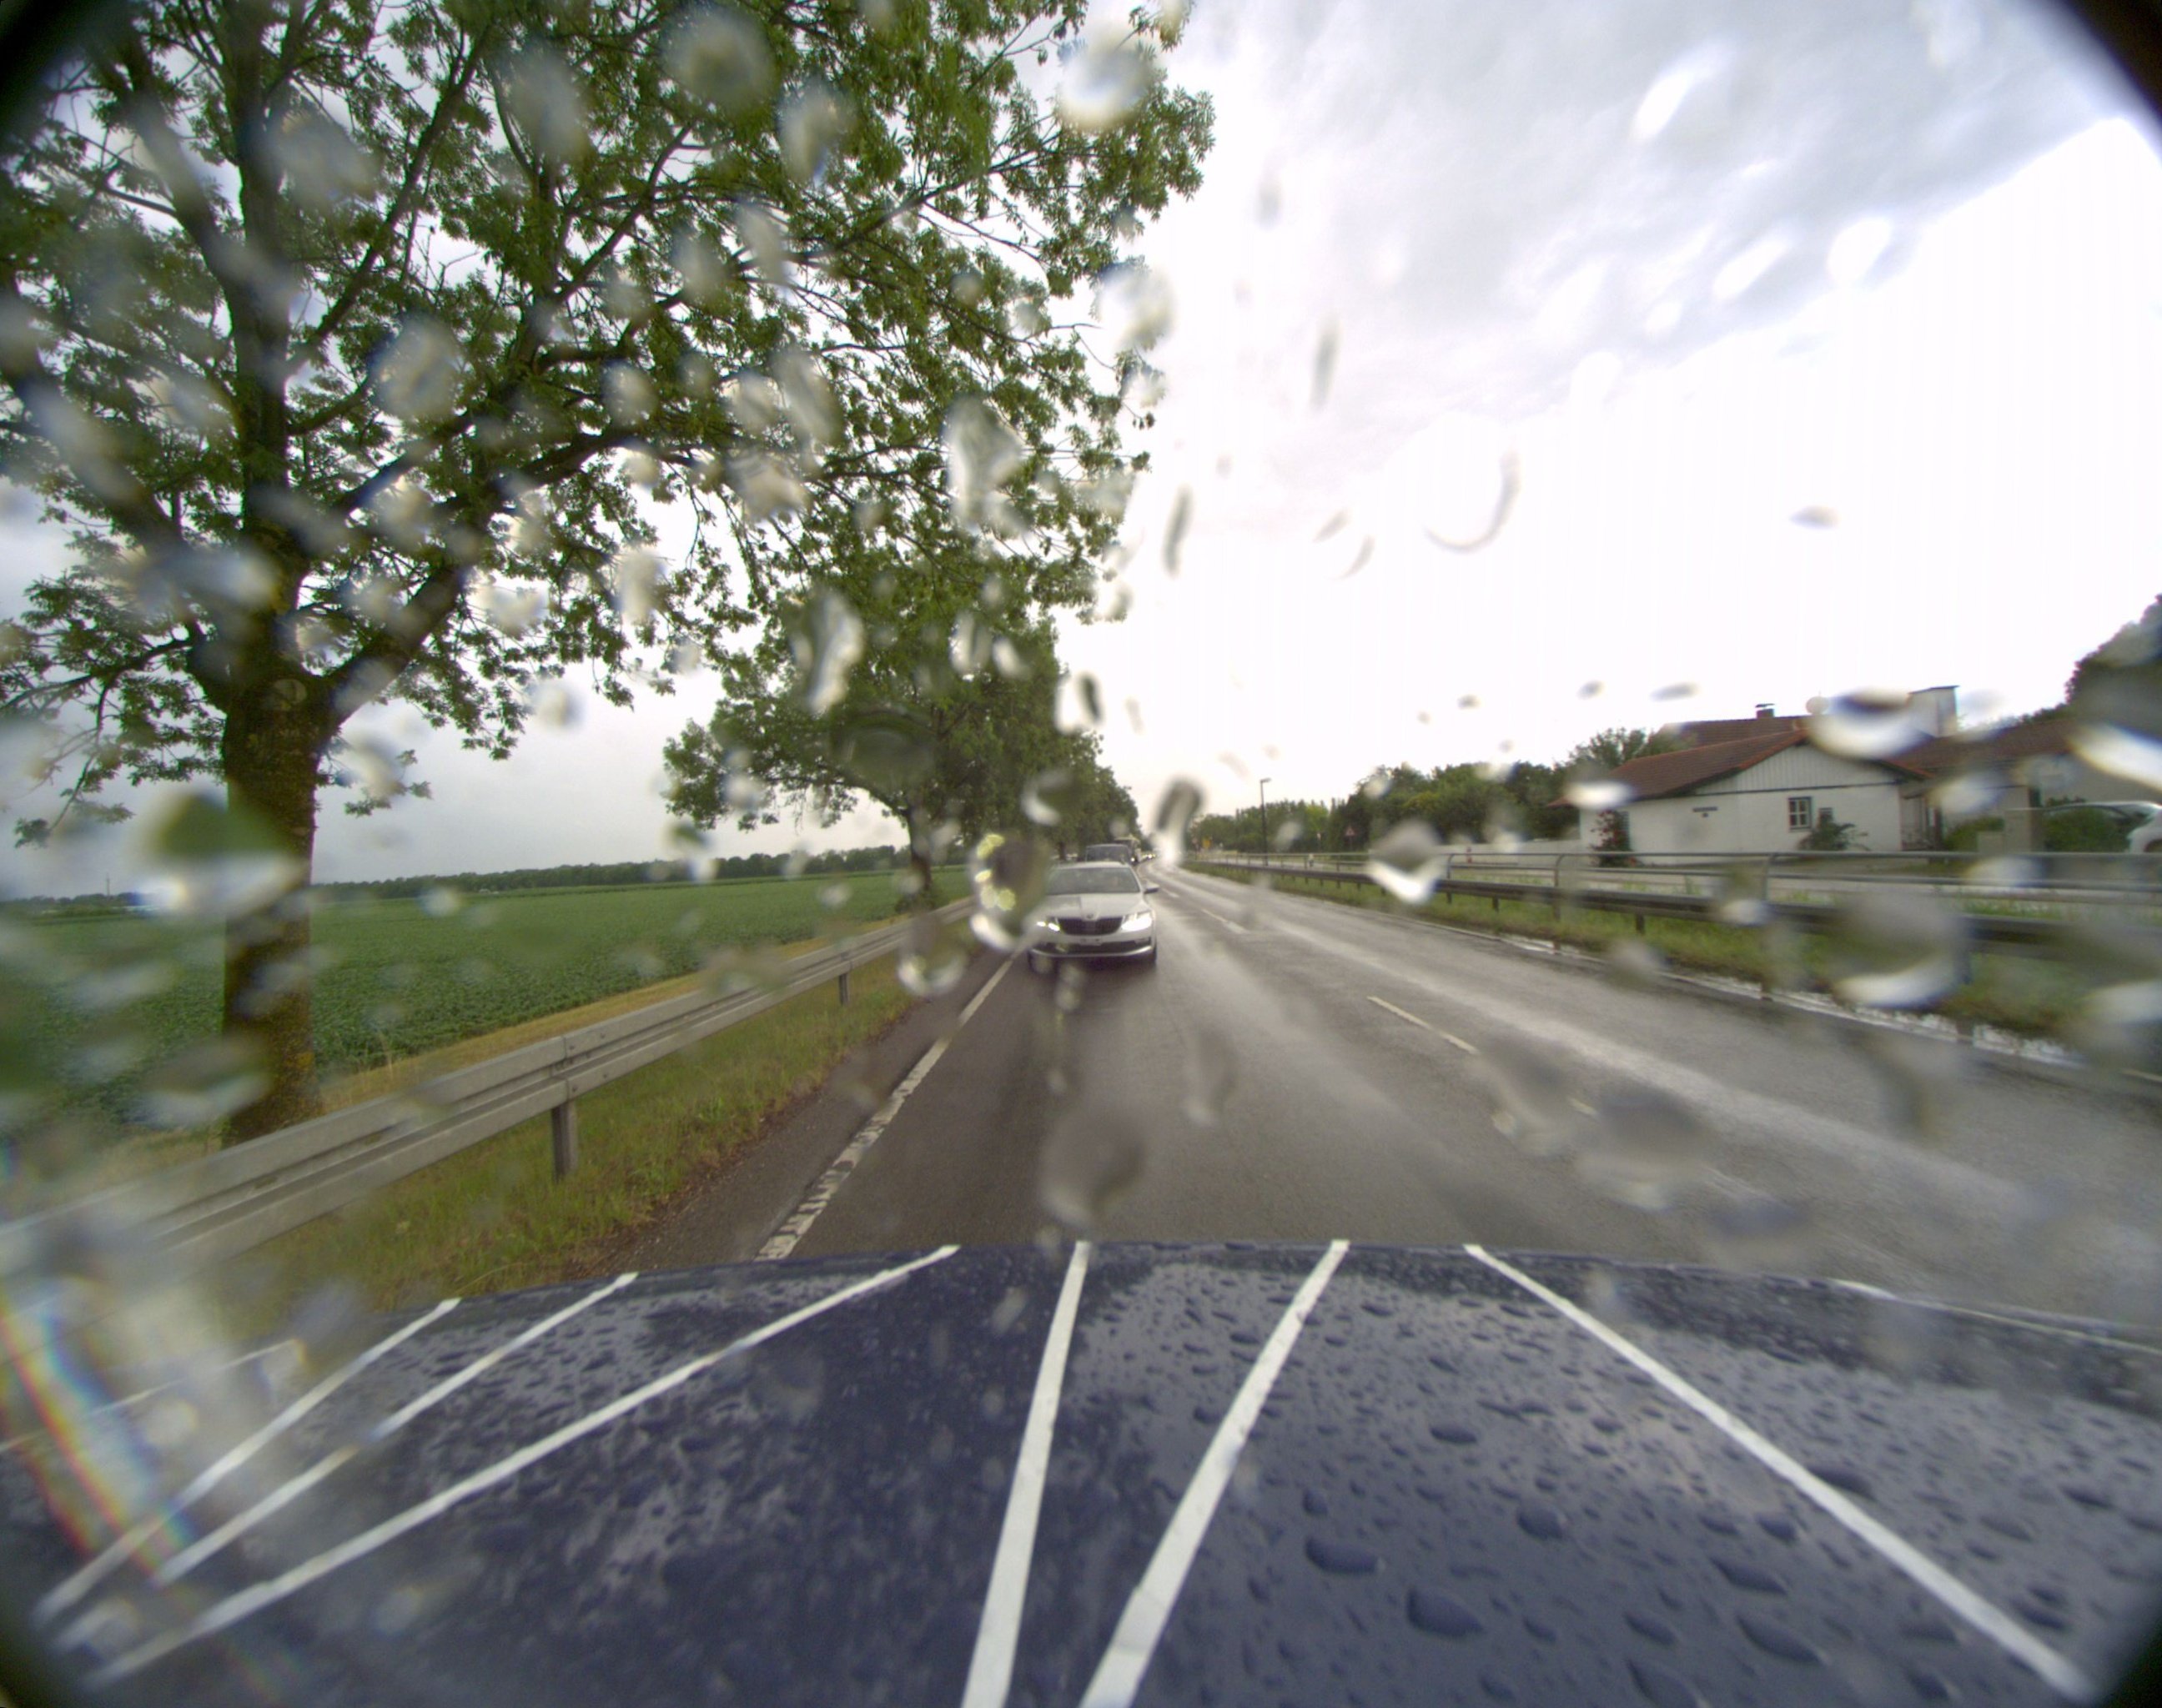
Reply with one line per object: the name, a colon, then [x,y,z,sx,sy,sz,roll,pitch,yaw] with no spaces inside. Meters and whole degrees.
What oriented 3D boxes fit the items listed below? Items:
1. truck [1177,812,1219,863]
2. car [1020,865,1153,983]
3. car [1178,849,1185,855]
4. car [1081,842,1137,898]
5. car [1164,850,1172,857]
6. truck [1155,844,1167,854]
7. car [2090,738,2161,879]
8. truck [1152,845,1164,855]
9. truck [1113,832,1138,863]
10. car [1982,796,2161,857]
truck: [12.508,-1.743,81.851,3.256,5.004,7.784,-4,0,2]
car: [0.092,0.951,11.911,1.705,1.438,4.000,-1,0,1]
car: [33.505,-0.698,253.940,1.811,1.723,4.027,-3,0,2]
car: [0.997,0.546,28.179,1.903,1.884,4.000,-1,0,1]
car: [26.637,-0.138,233.823,1.998,2.002,4.100,-3,0,1]
truck: [20.539,-1.322,194.789,2.800,2.461,7.169,-3,0,4]
car: [20.789,-0.894,11.761,2.243,2.565,6.019,-4,0,0]
truck: [21.312,-1.155,210.517,2.800,2.461,7.169,-3,0,4]
truck: [5.435,-0.773,94.119,2.751,3.547,8.387,-3,0,2]
car: [24.667,-0.649,18.563,1.452,1.348,3.270,-3,0,2]
